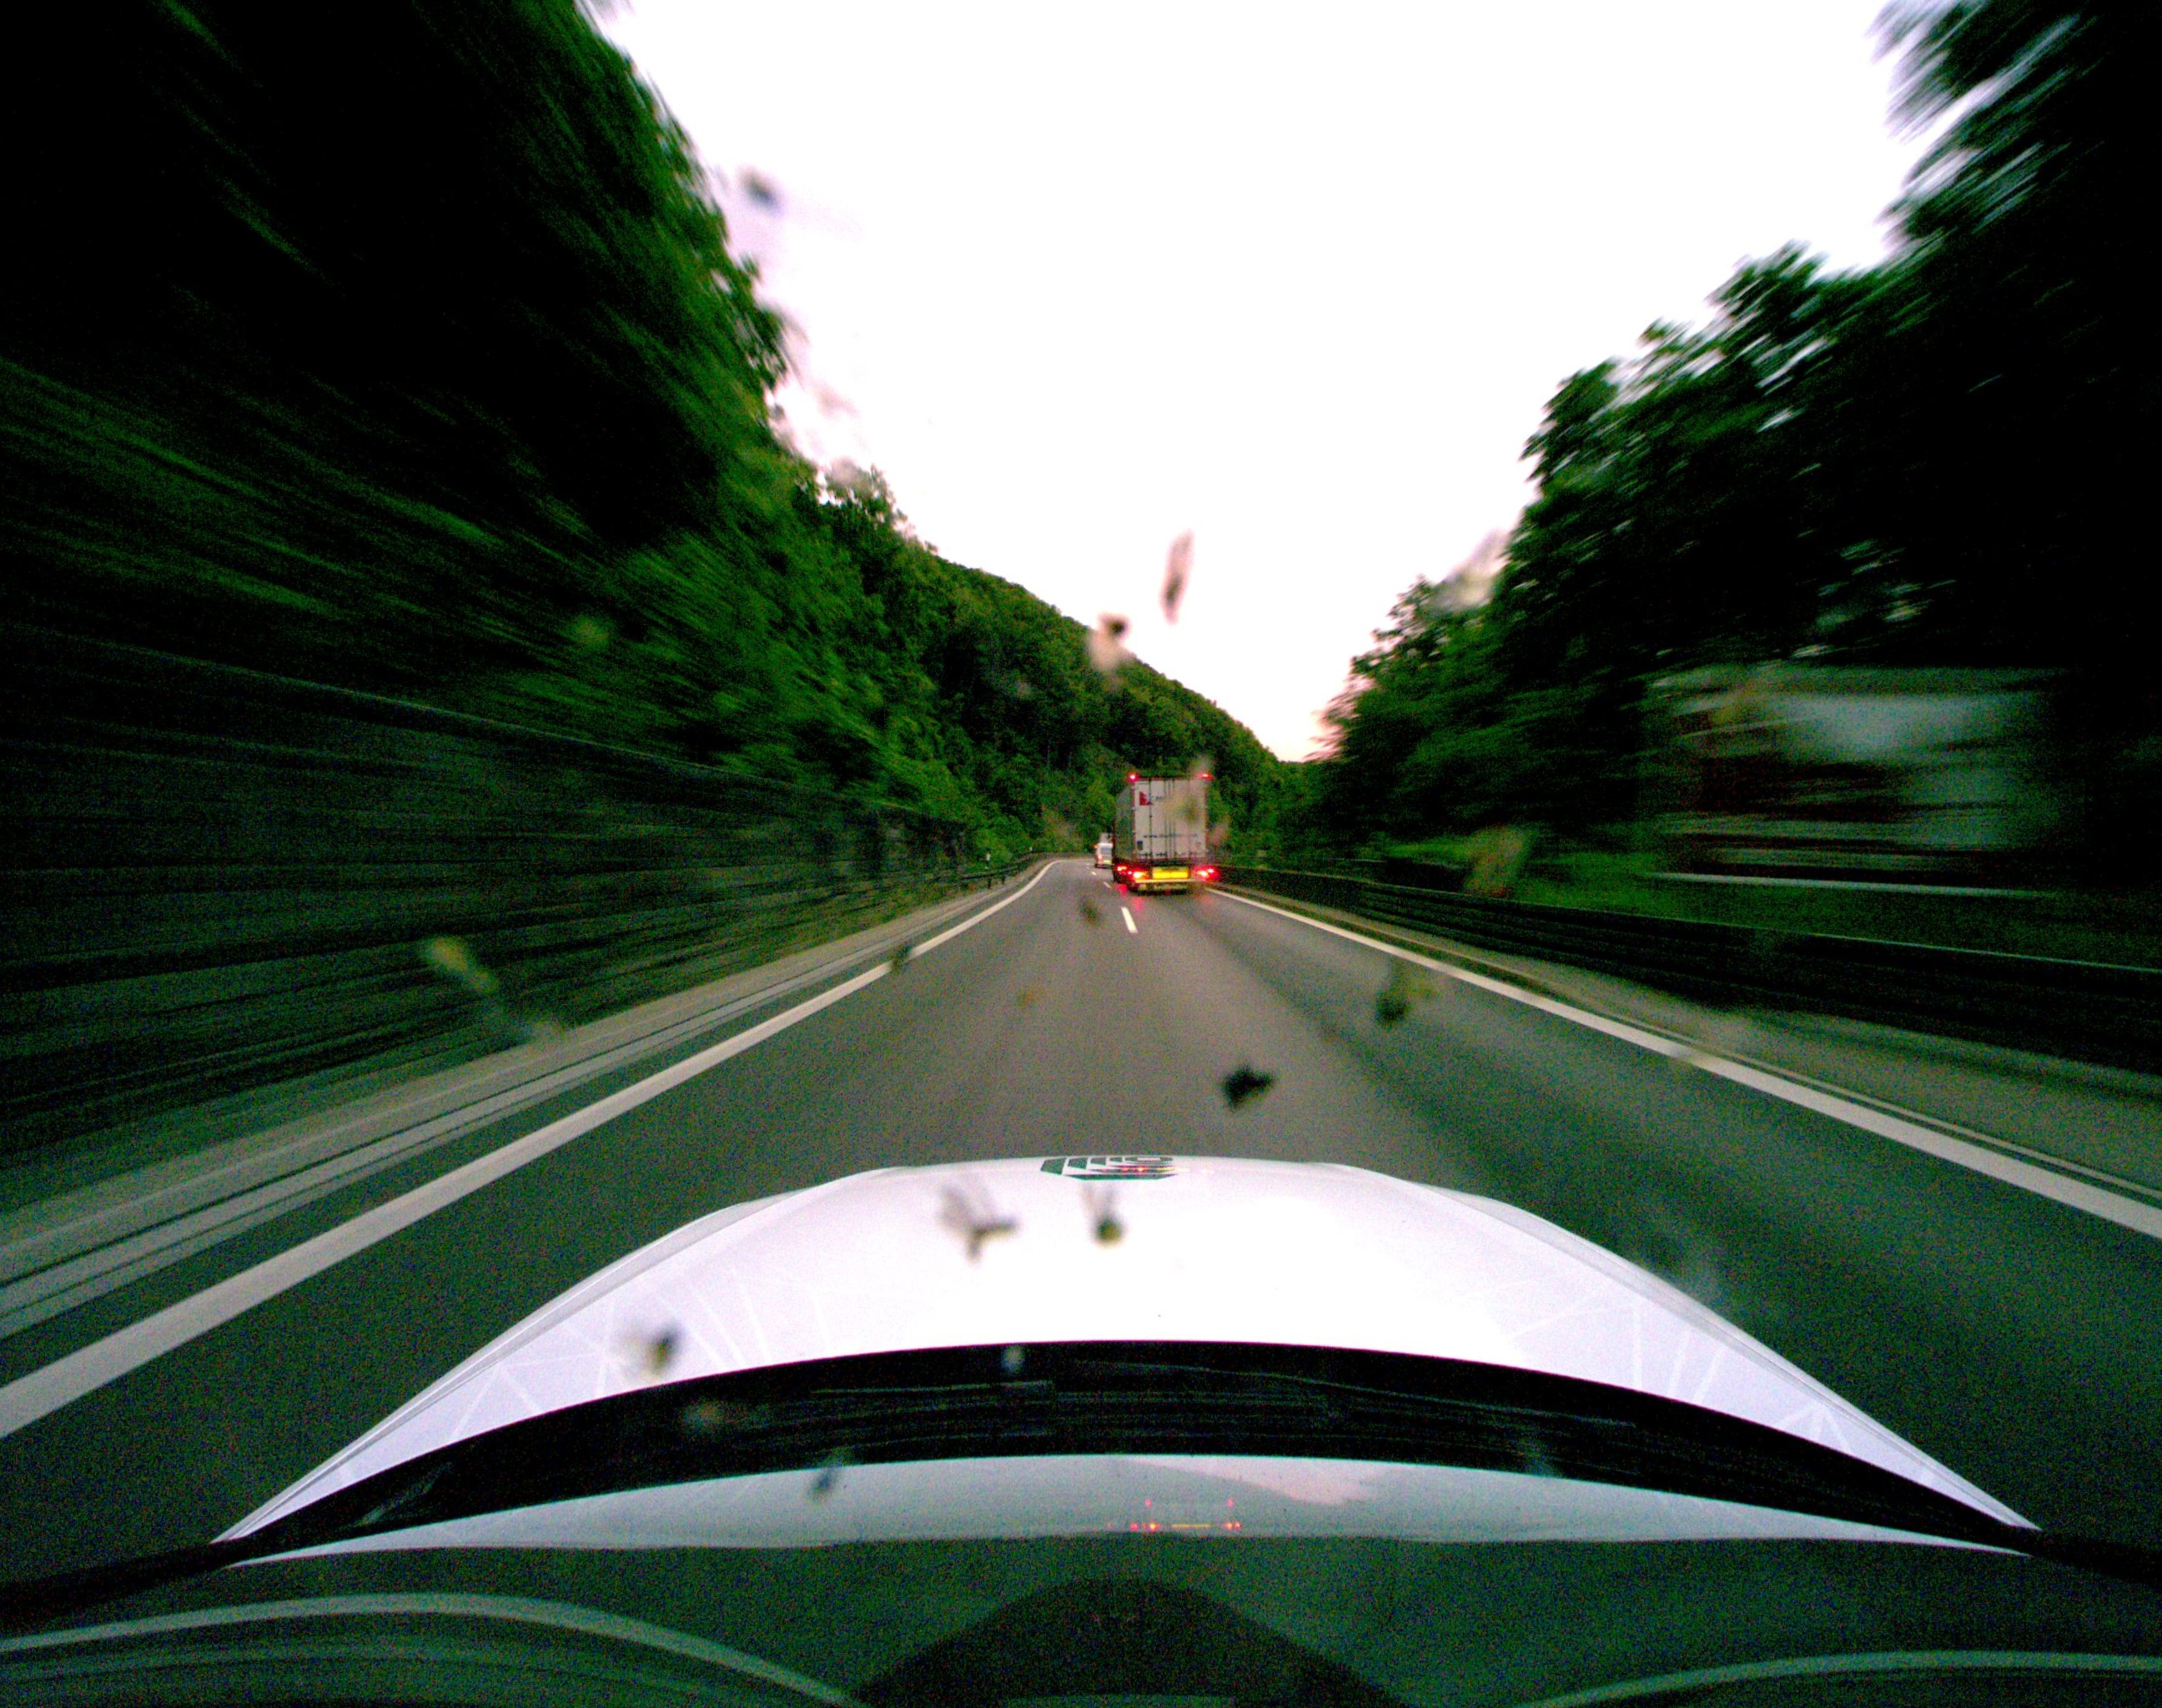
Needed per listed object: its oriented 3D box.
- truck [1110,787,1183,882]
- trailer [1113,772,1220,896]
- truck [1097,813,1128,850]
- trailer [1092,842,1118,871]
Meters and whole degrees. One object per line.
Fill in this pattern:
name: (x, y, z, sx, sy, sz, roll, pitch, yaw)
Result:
truck: (3.061, -0.901, 39.847, 3.058, 4.144, 6.449, -3, 0, 1)
trailer: (3.087, -0.767, 33.793, 3.086, 3.969, 14.222, -2, 1, 1)
truck: (4.441, -2.878, 110.548, 3.279, 4.173, 16.525, 1, -1, 5)
trailer: (2.171, 0.173, 74.331, 2.047, 2.374, 5.941, 5, 1, 2)
